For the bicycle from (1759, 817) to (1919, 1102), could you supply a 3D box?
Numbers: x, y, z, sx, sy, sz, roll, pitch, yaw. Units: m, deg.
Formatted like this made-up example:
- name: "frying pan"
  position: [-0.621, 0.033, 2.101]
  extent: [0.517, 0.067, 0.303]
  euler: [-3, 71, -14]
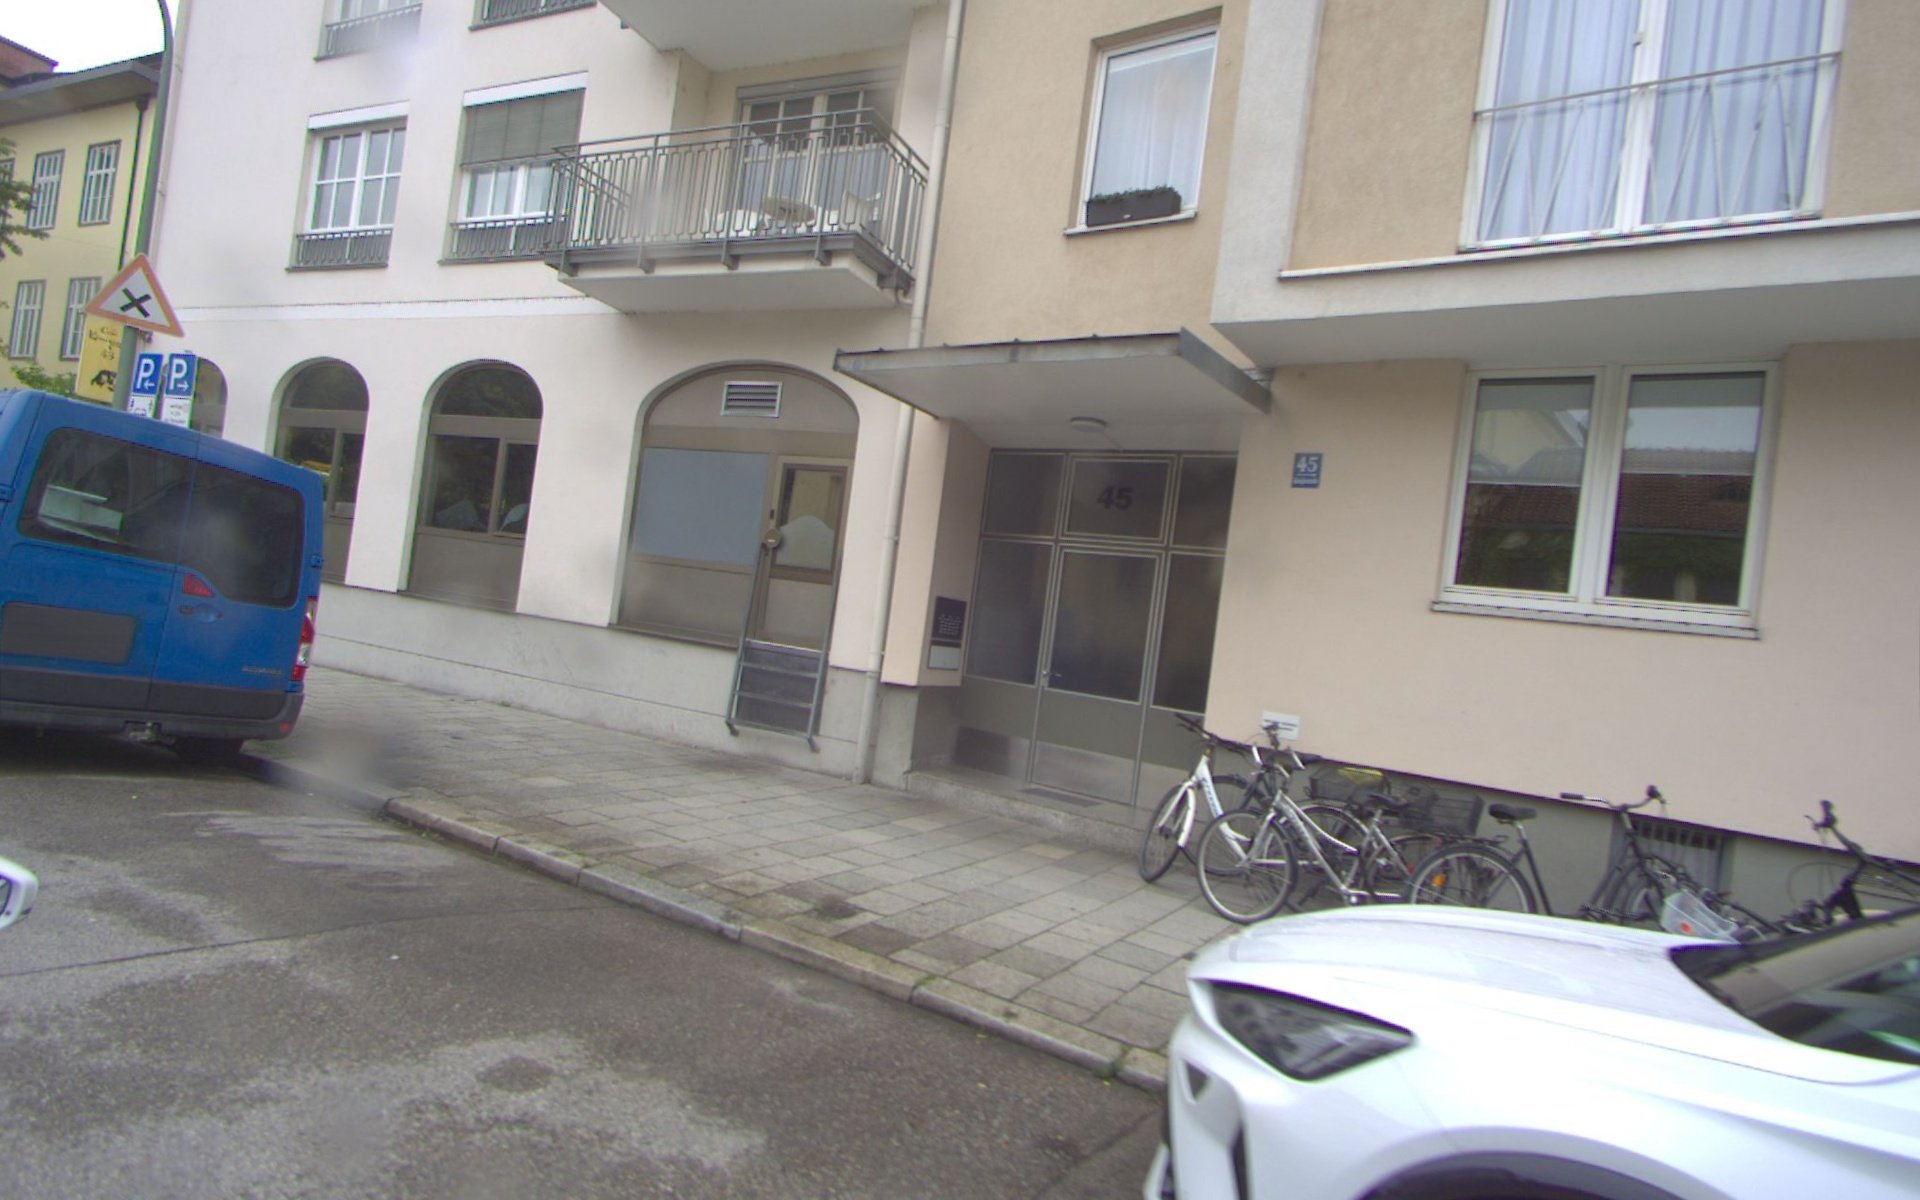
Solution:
- name: "bicycle"
  position: [4.583, 1.712, 4.569]
  extent: [1.370, 1.132, 0.378]
  euler: [7, -1, 35]

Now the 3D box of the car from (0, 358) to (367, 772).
- name: "car"
  position: [-7.234, -0.231, 7.597]
  extent: [5.154, 2.255, 2.089]
  euler: [5, -6, 28]

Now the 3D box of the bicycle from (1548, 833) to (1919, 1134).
- name: "bicycle"
  position: [3.595, 1.710, 4.686]
  extent: [1.370, 0.915, 0.378]
  euler: [7, -1, 35]

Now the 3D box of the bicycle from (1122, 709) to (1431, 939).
- name: "bicycle"
  position: [2.100, 1.444, 6.811]
  extent: [1.823, 1.123, 0.456]
  euler: [7, -1, 32]

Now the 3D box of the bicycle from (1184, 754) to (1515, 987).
- name: "bicycle"
  position: [2.295, 1.545, 6.032]
  extent: [1.707, 0.934, 0.456]
  euler: [7, -1, 32]

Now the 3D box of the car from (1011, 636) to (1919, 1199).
- name: "car"
  position: [2.549, 1.206, 1.695]
  extent: [4.568, 1.549, 1.792]
  euler: [7, -4, 29]
